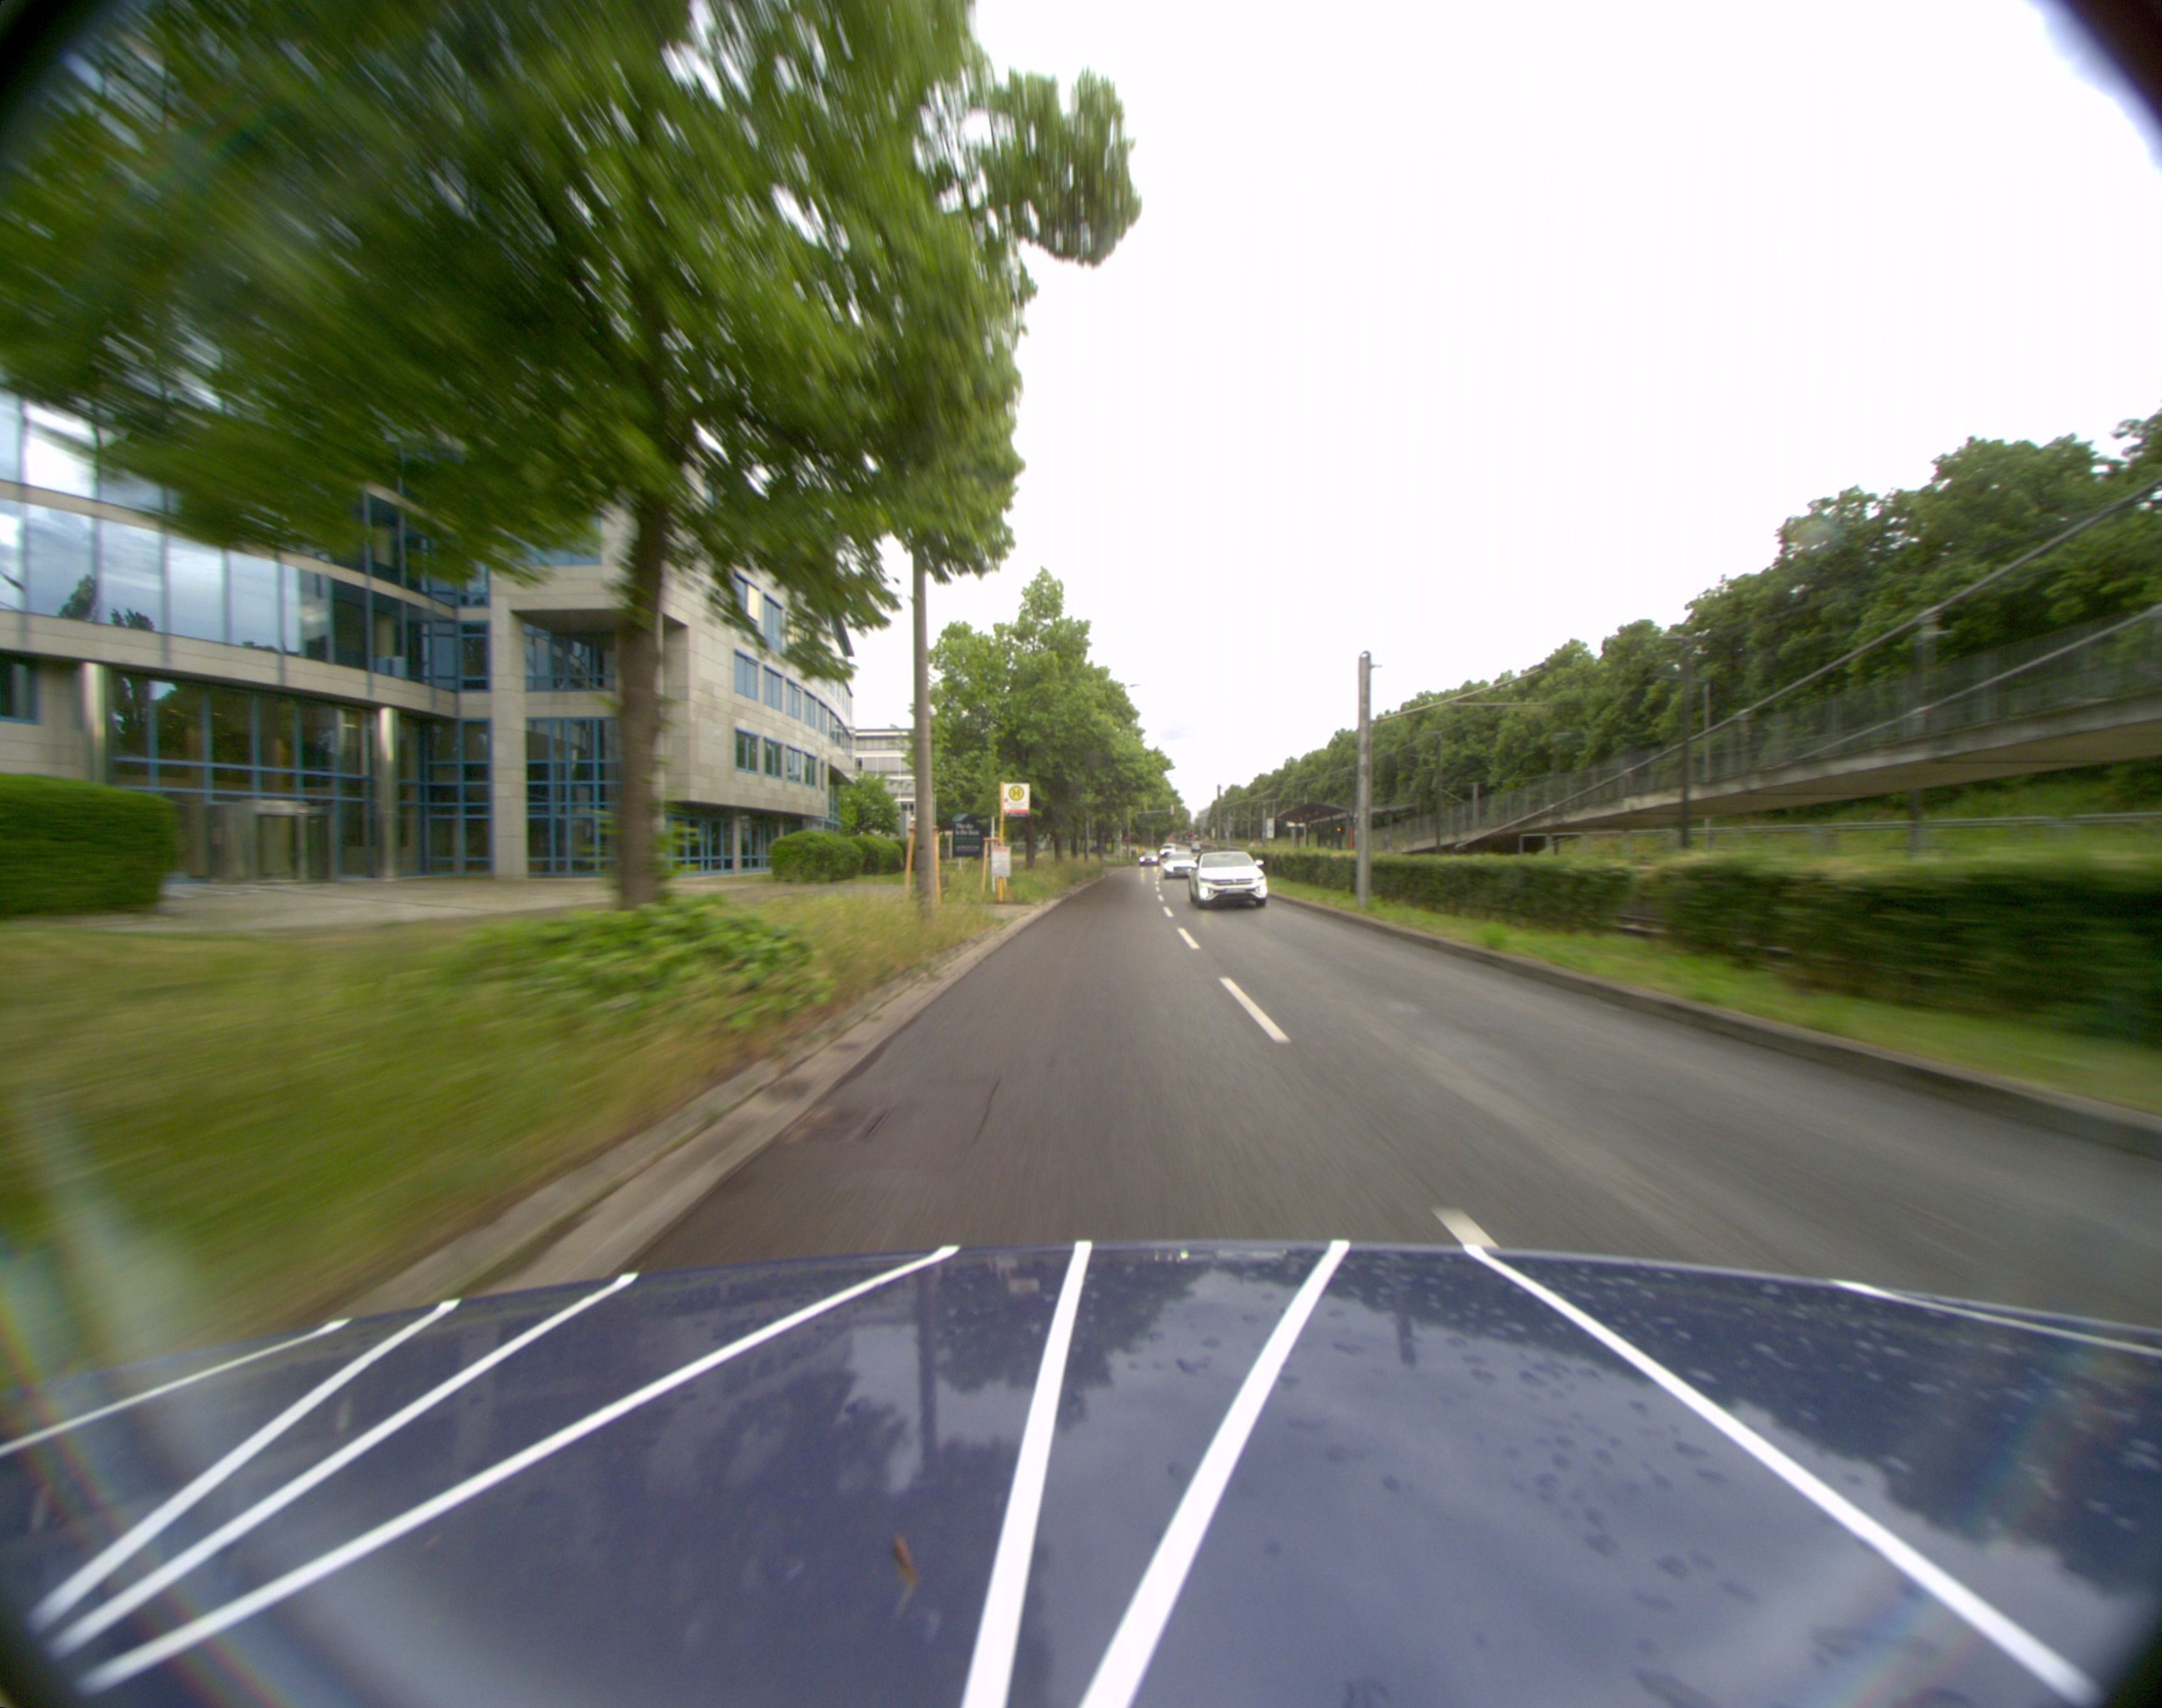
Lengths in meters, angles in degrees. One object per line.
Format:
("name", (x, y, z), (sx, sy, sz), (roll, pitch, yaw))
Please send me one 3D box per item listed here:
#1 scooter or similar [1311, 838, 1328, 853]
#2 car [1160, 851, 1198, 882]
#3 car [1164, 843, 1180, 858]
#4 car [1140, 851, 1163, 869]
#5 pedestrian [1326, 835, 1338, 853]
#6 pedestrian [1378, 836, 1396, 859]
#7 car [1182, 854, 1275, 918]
("scooter or similar", (19.471, -0.710, 62.106), (0.380, 1.211, 1.297), (-4, 2, -37))
("car", (5.561, 0.657, 42.991), (1.959, 1.472, 4.701), (-3, 1, 8))
("car", (12.198, -0.487, 101.832), (1.959, 1.914, 4.847), (-3, 1, 8))
("car", (6.511, 0.512, 69.967), (1.959, 1.469, 4.701), (-3, 1, 6))
("pedestrian", (19.292, -0.740, 58.368), (0.754, 1.348, 0.692), (-1, 1, 6))
("pedestrian", (21.502, -0.487, 53.424), (0.937, 1.602, 1.027), (-1, 1, 7))
("car", (4.049, 0.807, 21.594), (1.960, 1.457, 4.700), (-4, 1, 4))
